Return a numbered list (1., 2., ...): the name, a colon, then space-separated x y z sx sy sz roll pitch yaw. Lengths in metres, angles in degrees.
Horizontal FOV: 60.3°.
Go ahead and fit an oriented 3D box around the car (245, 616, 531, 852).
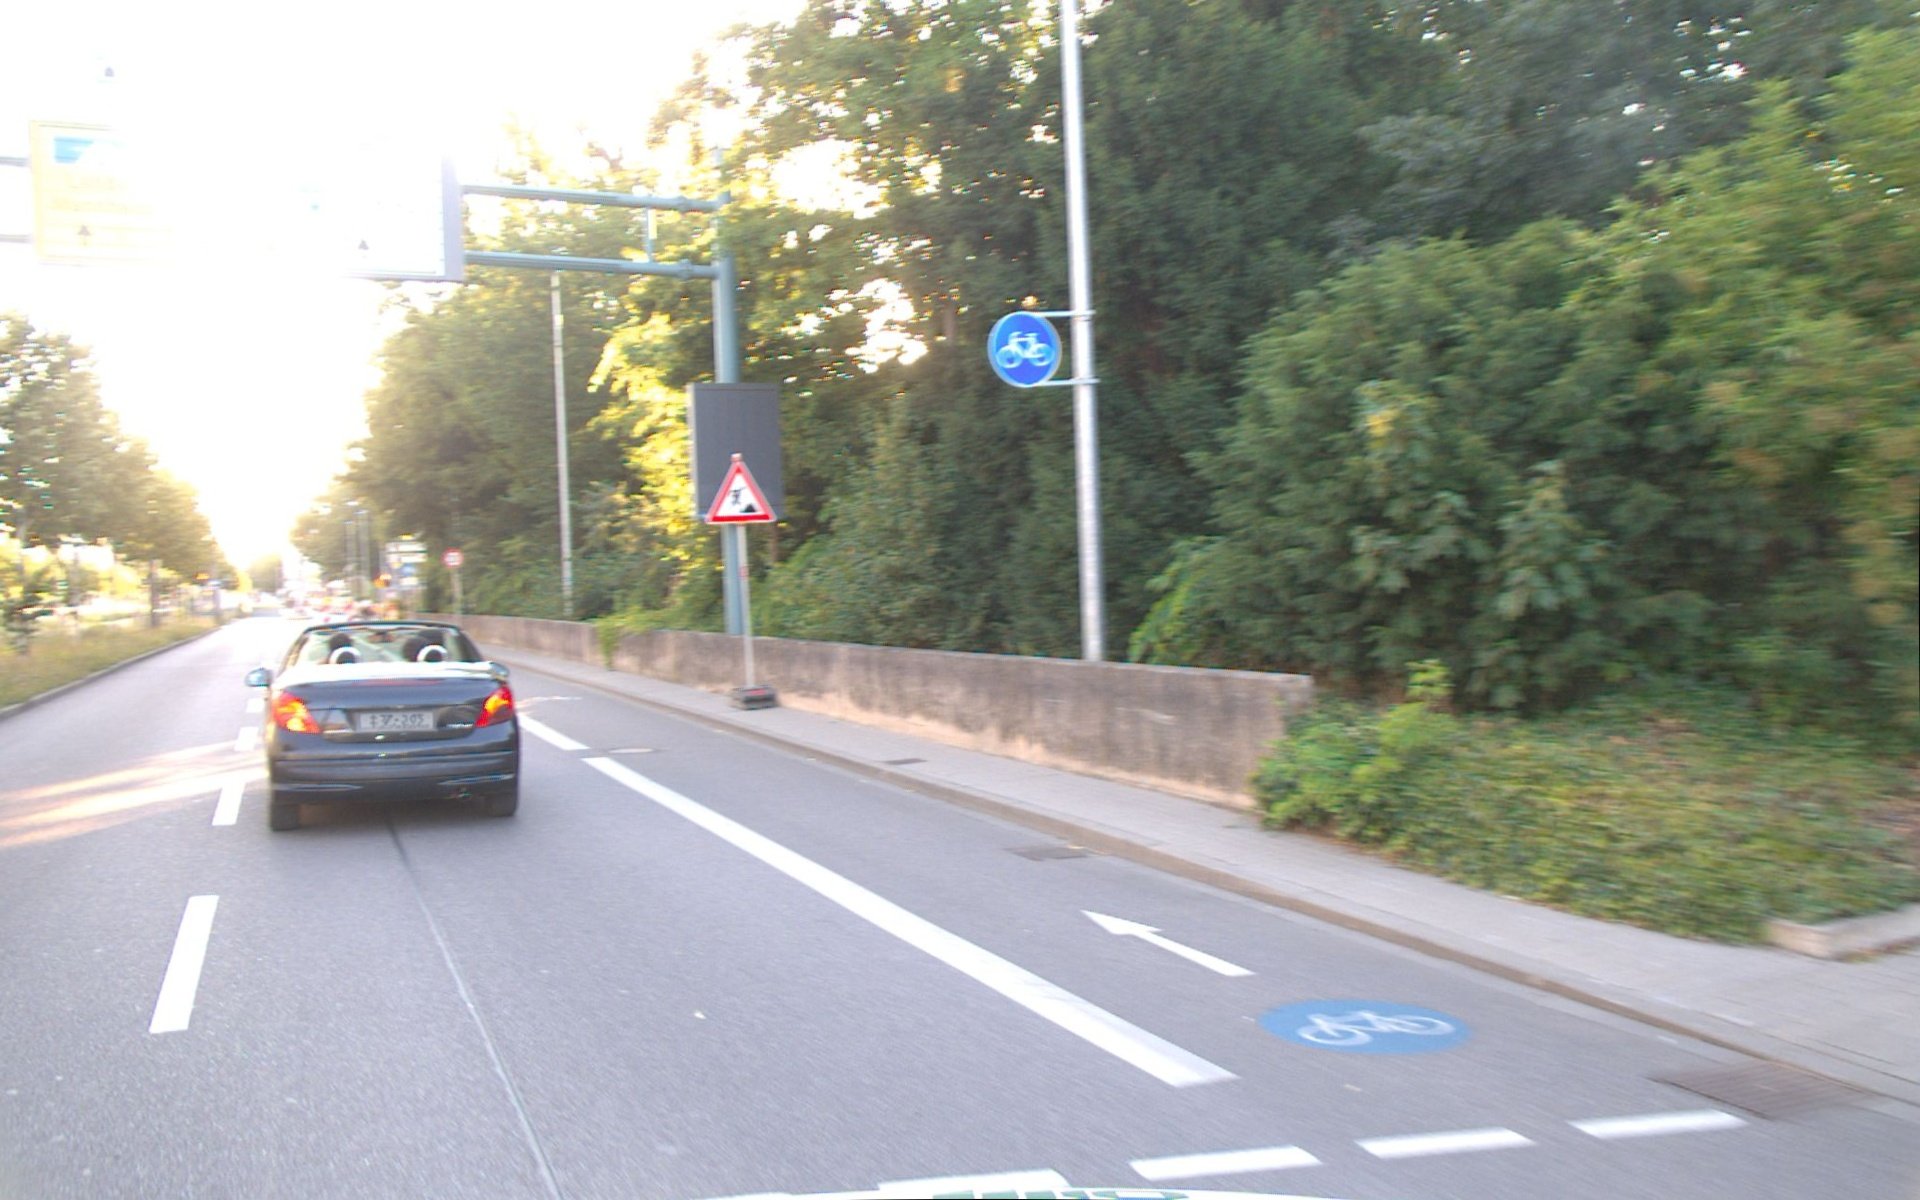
1. car: -4.467 0.865 12.566 1.697 1.475 3.870 0 0 -25
